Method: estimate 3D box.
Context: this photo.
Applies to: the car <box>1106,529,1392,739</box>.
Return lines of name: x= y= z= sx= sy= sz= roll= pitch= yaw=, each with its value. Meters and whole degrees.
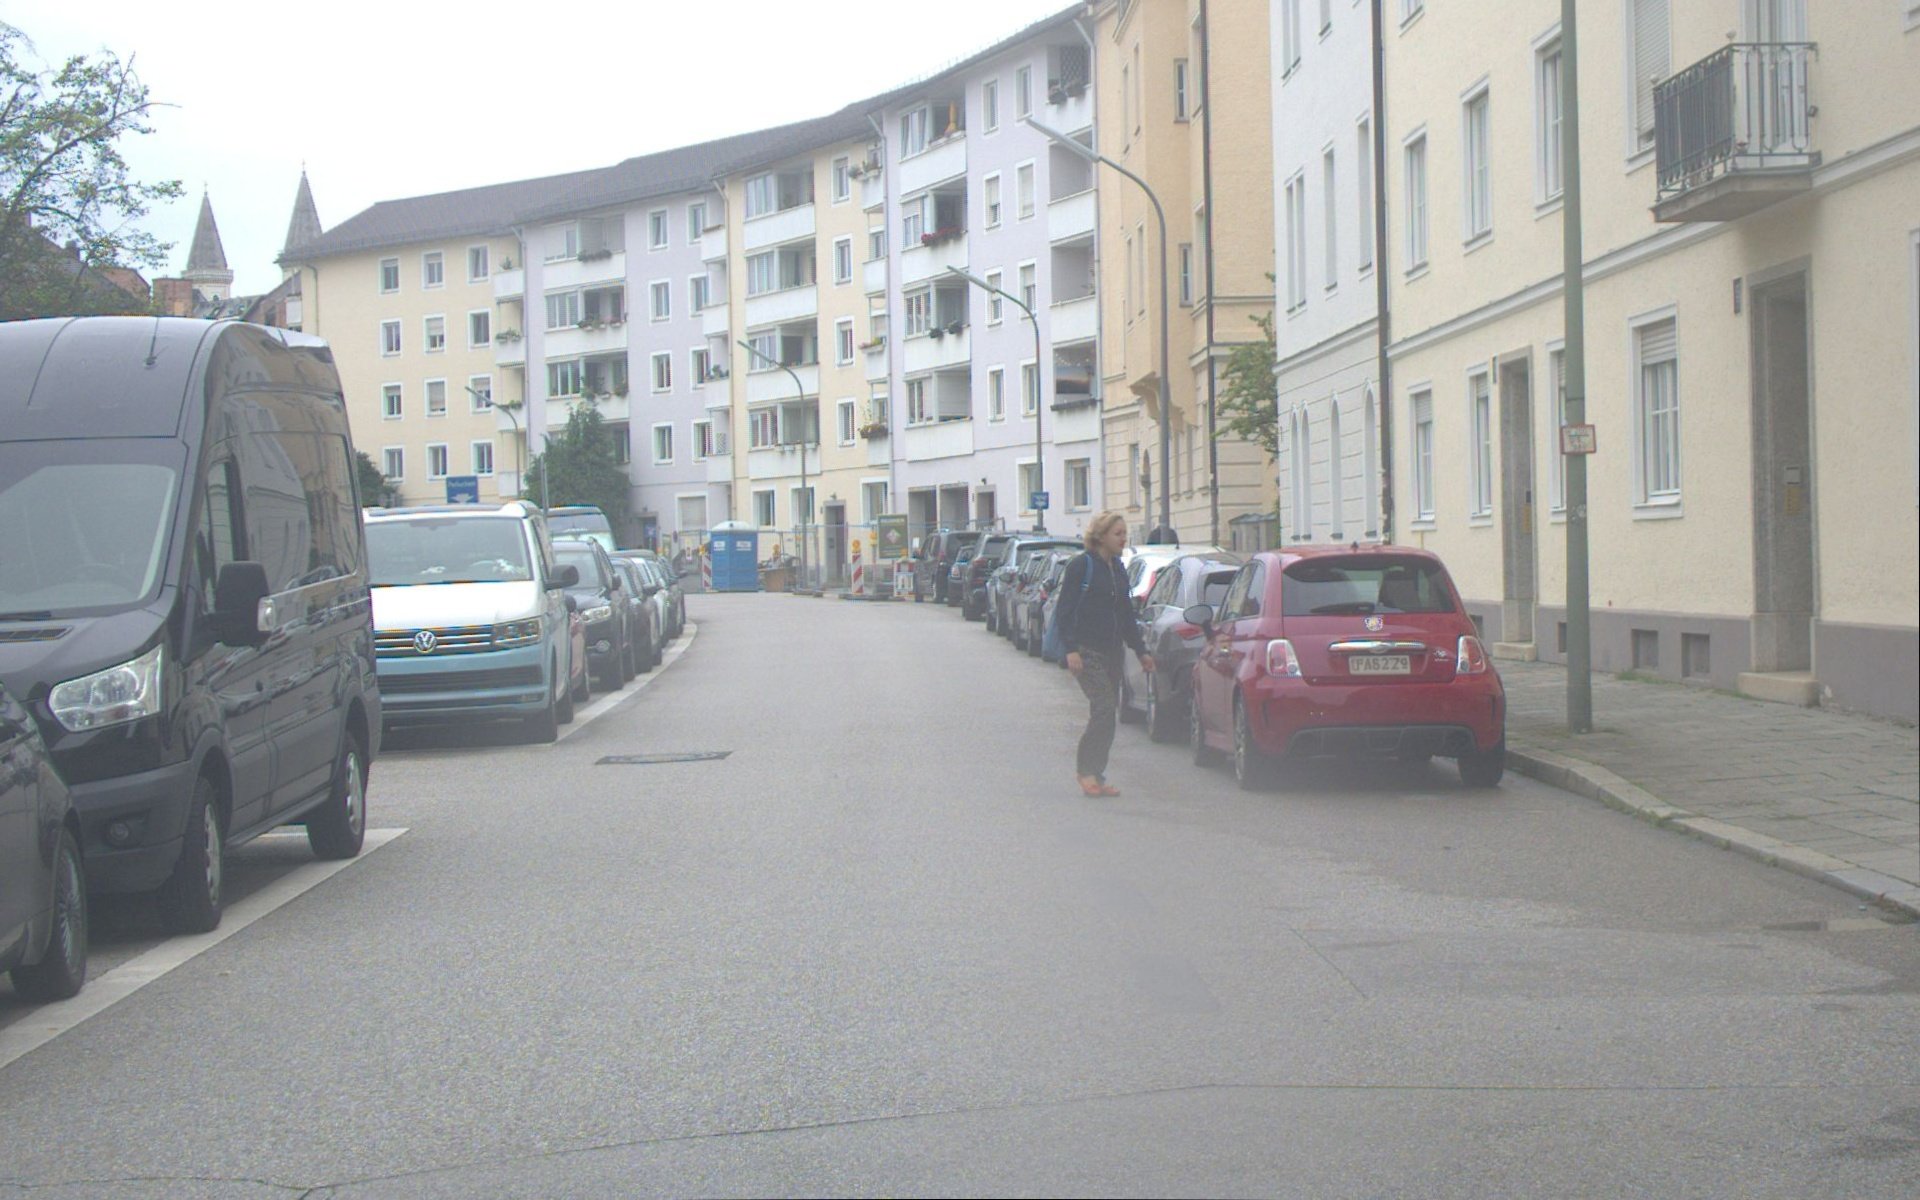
car: x=2.200 y=0.234 z=27.251 sx=1.692 sy=1.486 sz=4.343 roll=-2 pitch=0 yaw=-2

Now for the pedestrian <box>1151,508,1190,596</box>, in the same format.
pedestrian: x=4.102 y=-0.934 z=67.091 sx=0.667 sy=1.687 sz=0.690 roll=1 pitch=0 yaw=-1

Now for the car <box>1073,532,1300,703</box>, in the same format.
car: x=2.113 y=0.117 z=33.130 sx=1.692 sy=1.486 sz=4.283 roll=-2 pitch=1 yaw=-2

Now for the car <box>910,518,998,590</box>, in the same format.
car: x=-0.156 y=-1.133 z=83.881 sx=1.601 sy=1.709 sz=3.090 roll=0 pitch=1 yaw=-11

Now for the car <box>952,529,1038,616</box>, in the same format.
car: x=0.664 y=-0.567 z=67.522 sx=1.474 sy=1.635 sz=4.001 roll=0 pitch=1 yaw=-3

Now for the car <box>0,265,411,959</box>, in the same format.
car: x=-4.042 y=-0.006 z=15.770 sx=2.088 sy=2.627 sz=5.377 roll=-1 pitch=1 yaw=0

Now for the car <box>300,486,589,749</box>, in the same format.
car: x=-4.206 y=0.081 z=28.719 sx=1.882 sy=1.925 sz=4.602 roll=-3 pitch=1 yaw=-3

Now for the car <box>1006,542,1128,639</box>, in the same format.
car: x=1.618 y=-0.172 z=52.961 sx=1.590 sy=1.427 sz=3.826 roll=0 pitch=1 yaw=-2

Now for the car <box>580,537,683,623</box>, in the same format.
car: x=-5.748 y=-0.373 z=60.468 sx=1.623 sy=1.414 sz=3.982 roll=-2 pitch=1 yaw=-3

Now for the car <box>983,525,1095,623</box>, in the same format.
car: x=1.286 y=-0.472 z=57.690 sx=1.590 sy=1.577 sz=4.300 roll=0 pitch=1 yaw=-3

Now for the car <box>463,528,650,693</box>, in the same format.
car: x=-4.515 y=0.069 z=38.945 sx=1.701 sy=1.685 sz=4.028 roll=-3 pitch=1 yaw=-2

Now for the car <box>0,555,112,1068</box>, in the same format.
car: x=-3.727 y=0.664 z=10.610 sx=1.585 sy=1.533 sz=3.544 roll=-3 pitch=1 yaw=-5

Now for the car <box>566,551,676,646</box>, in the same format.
car: x=-5.434 y=-0.057 z=55.422 sx=1.623 sy=1.414 sz=3.982 roll=-2 pitch=1 yaw=-4

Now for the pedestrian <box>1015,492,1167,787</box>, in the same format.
pedestrian: x=0.777 y=0.236 z=20.479 sx=0.793 sy=1.722 sz=0.673 roll=0 pitch=-1 yaw=-8

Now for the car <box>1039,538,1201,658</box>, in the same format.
car: x=1.969 y=-0.037 z=43.245 sx=1.692 sy=1.427 sz=3.945 roll=0 pitch=0 yaw=-2

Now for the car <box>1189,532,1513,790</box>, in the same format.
car: x=2.457 y=0.329 z=22.363 sx=1.595 sy=1.503 sz=3.801 roll=-1 pitch=1 yaw=-1

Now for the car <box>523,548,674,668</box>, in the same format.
car: x=-4.635 y=0.071 z=44.527 sx=1.623 sy=1.407 sz=3.799 roll=-3 pitch=1 yaw=-2

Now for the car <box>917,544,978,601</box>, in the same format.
car: x=-0.298 y=-0.651 z=79.447 sx=1.272 sy=1.294 sz=2.798 roll=-1 pitch=1 yaw=-3

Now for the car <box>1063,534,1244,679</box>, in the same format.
car: x=2.094 y=0.031 z=38.103 sx=1.599 sy=1.486 sz=3.799 roll=-1 pitch=1 yaw=-3

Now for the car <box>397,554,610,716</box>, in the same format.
car: x=-4.381 y=0.300 z=33.436 sx=1.652 sy=1.368 sz=3.653 roll=-3 pitch=1 yaw=-2
